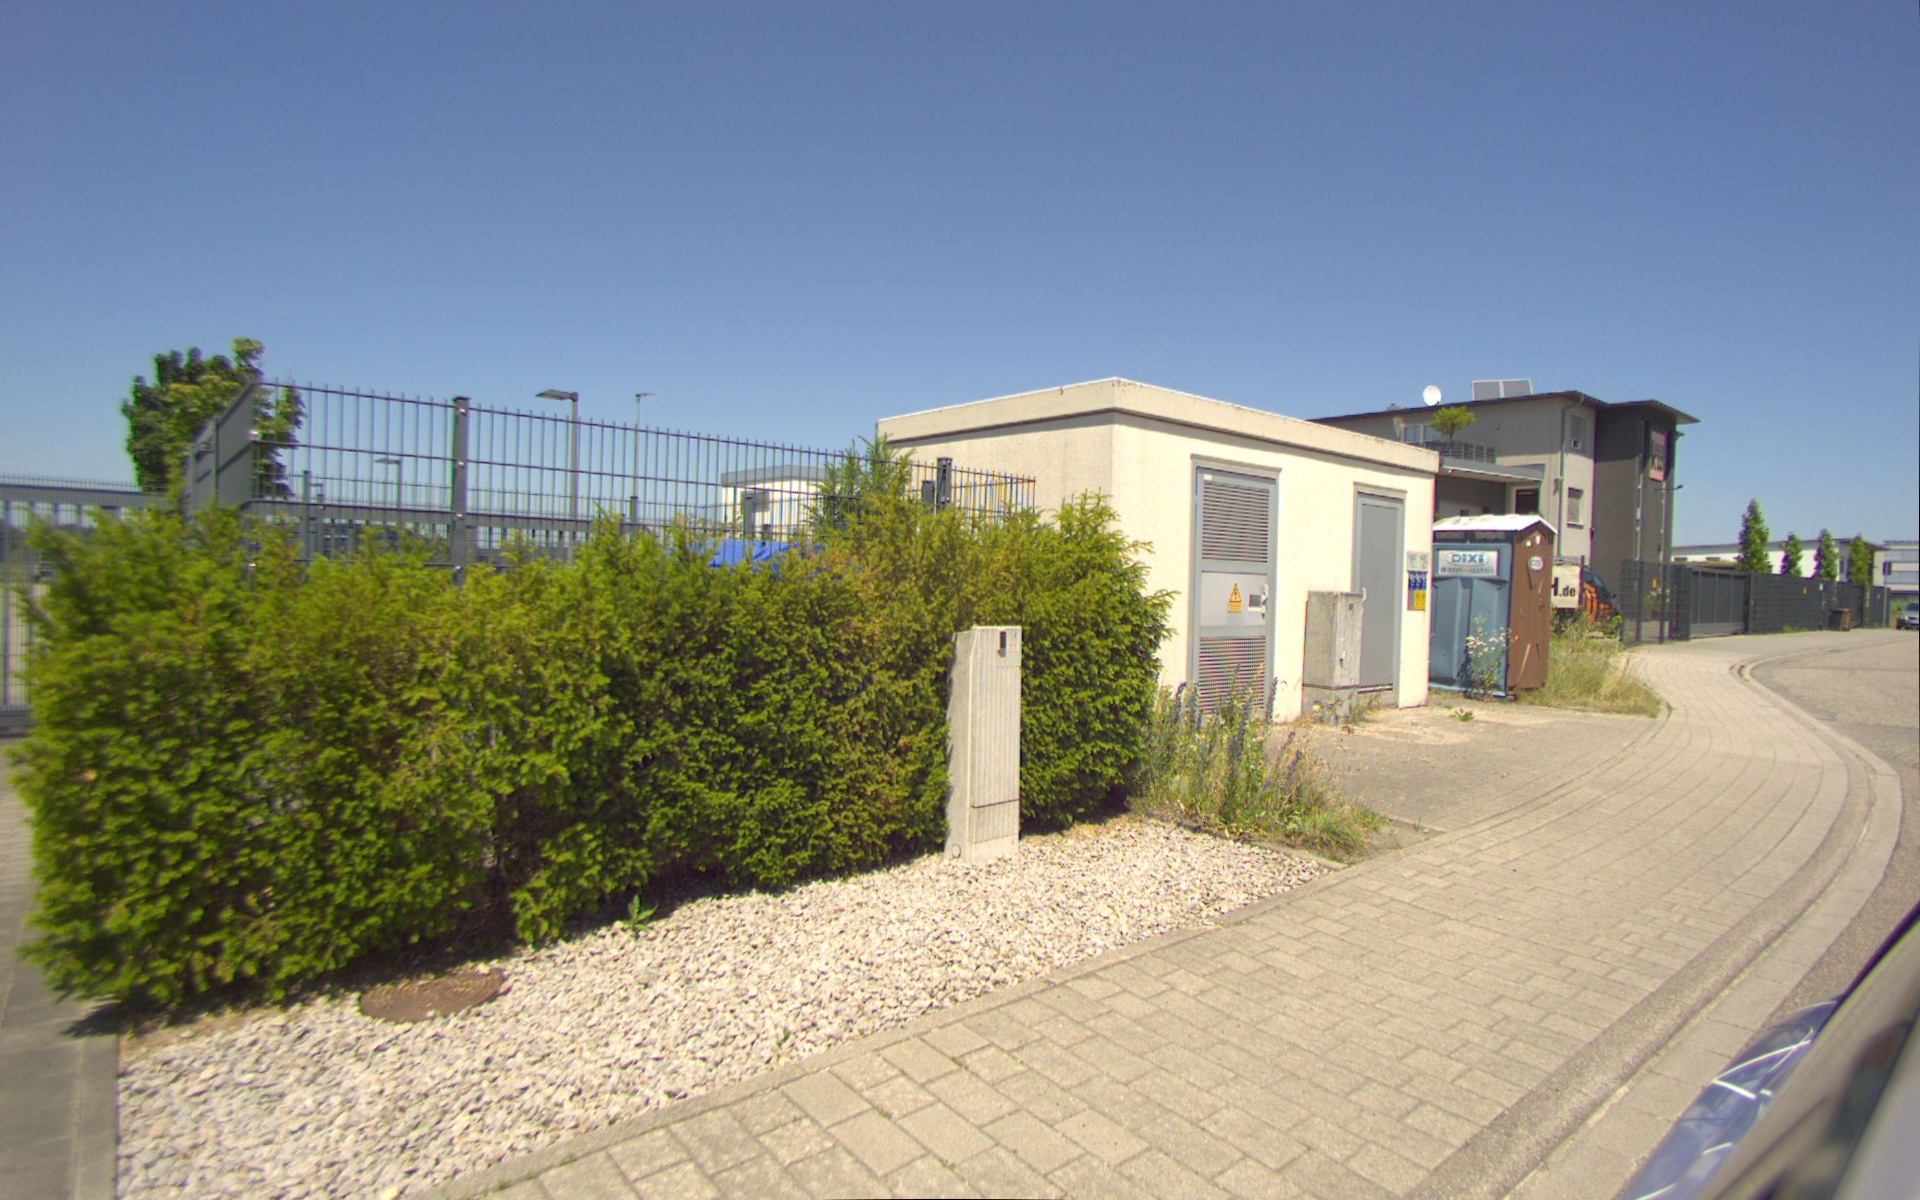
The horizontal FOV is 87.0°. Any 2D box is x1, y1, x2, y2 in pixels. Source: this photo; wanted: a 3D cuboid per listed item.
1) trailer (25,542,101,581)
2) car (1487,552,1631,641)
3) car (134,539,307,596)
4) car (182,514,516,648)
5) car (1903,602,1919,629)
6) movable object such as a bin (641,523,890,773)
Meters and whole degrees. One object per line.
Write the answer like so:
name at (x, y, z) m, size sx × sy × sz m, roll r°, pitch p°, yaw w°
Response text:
trailer at (-34.237, -1.475, 38.724) m, size 1.964 × 1.371 × 3.997 m, roll 1°, pitch 2°, yaw -39°
car at (16.200, -0.105, 27.269) m, size 4.696 × 2.188 × 1.918 m, roll 0°, pitch 1°, yaw -41°
car at (-21.434, -0.965, 29.398) m, size 3.930 × 1.523 × 1.859 m, roll -2°, pitch 3°, yaw -41°
car at (-8.842, -0.329, 14.812) m, size 3.930 × 1.699 × 1.859 m, roll -2°, pitch 3°, yaw -41°
car at (48.480, 0.782, 50.344) m, size 3.816 × 1.292 × 1.828 m, roll 1°, pitch 2°, yaw -40°
movable object such as a bin at (-1.392, 0.272, 7.146) m, size 1.149 × 1.542 × 1.386 m, roll 1°, pitch 2°, yaw -41°
